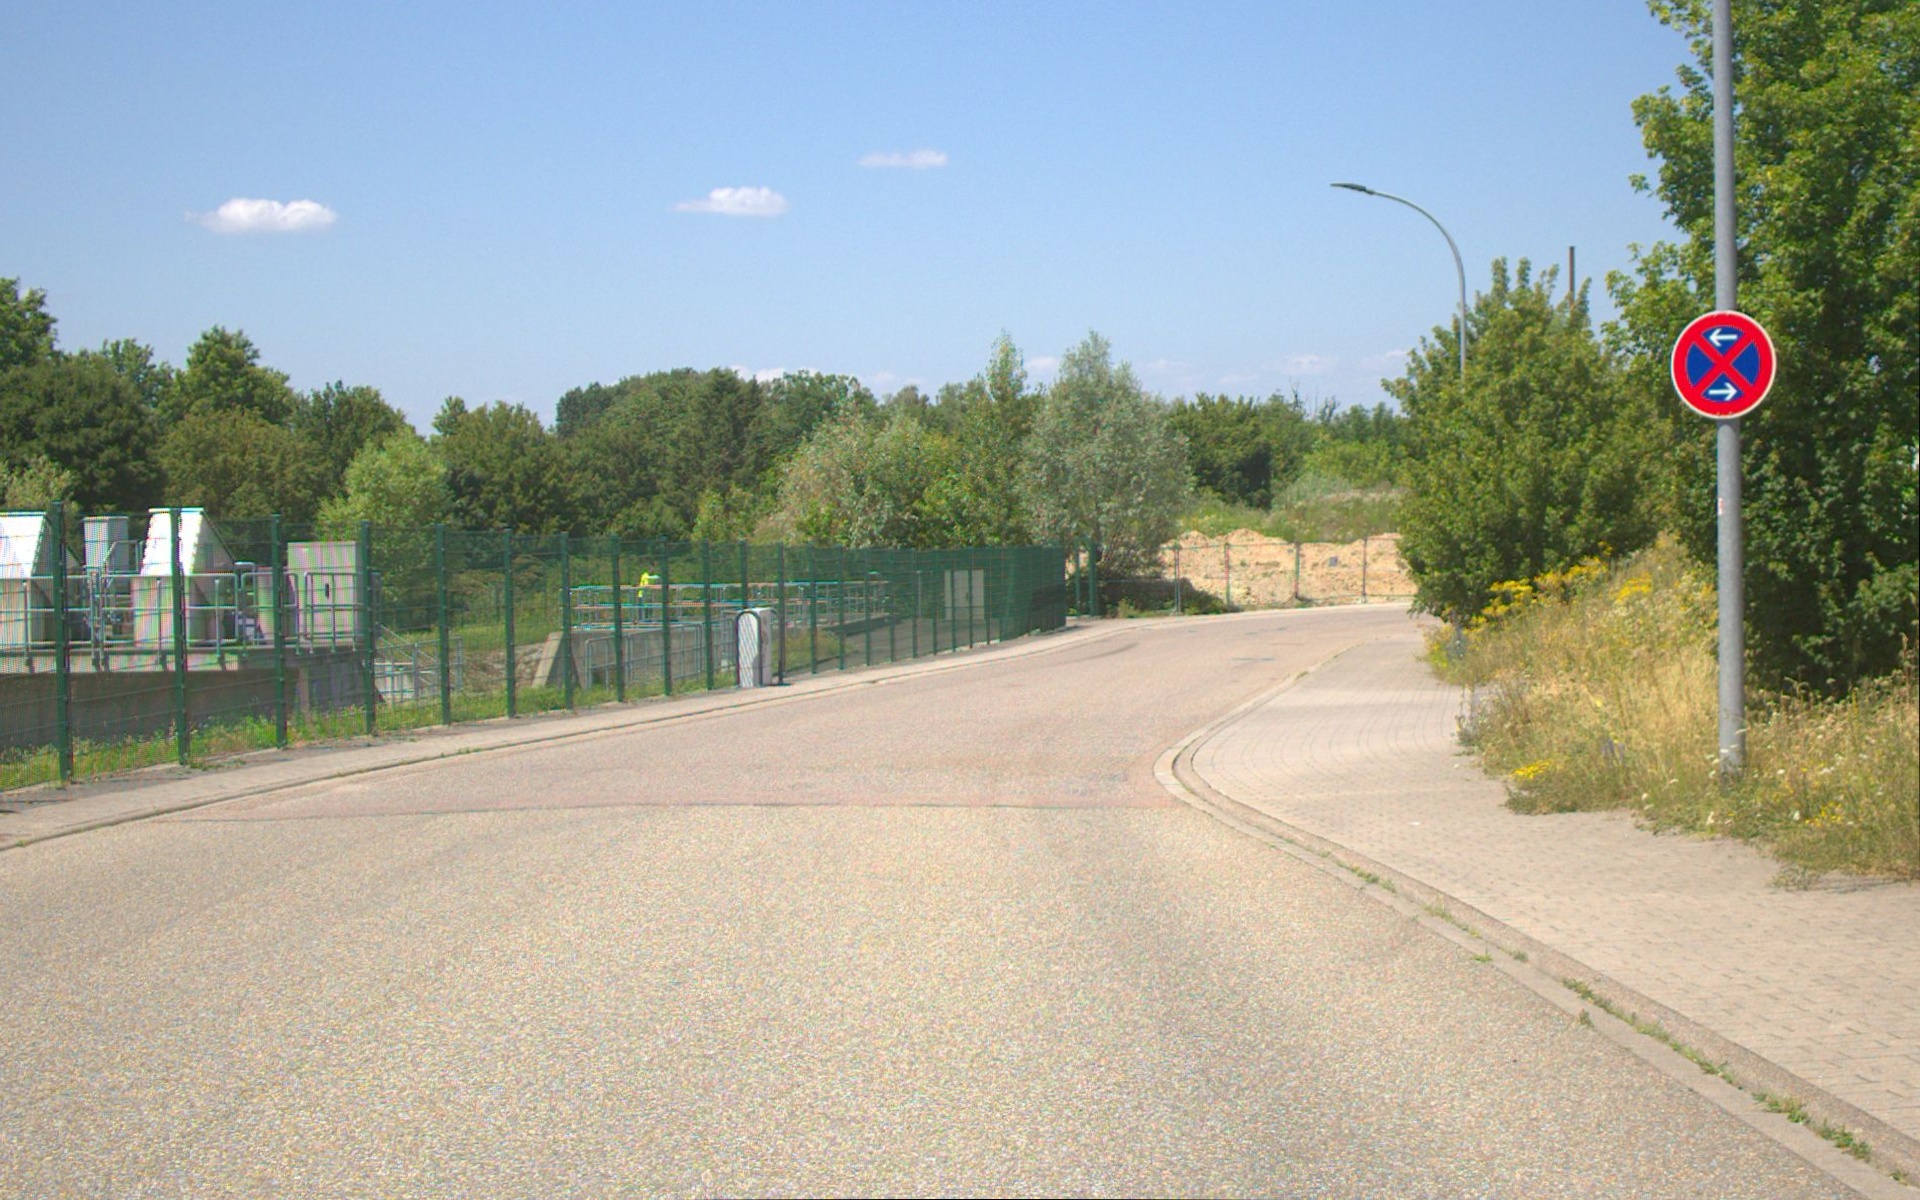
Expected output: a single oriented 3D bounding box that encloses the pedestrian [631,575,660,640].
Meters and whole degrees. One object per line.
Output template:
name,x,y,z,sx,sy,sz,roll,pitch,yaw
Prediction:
pedestrian,-9.004,0.220,98.571,0.606,1.833,0.805,-2,1,7
